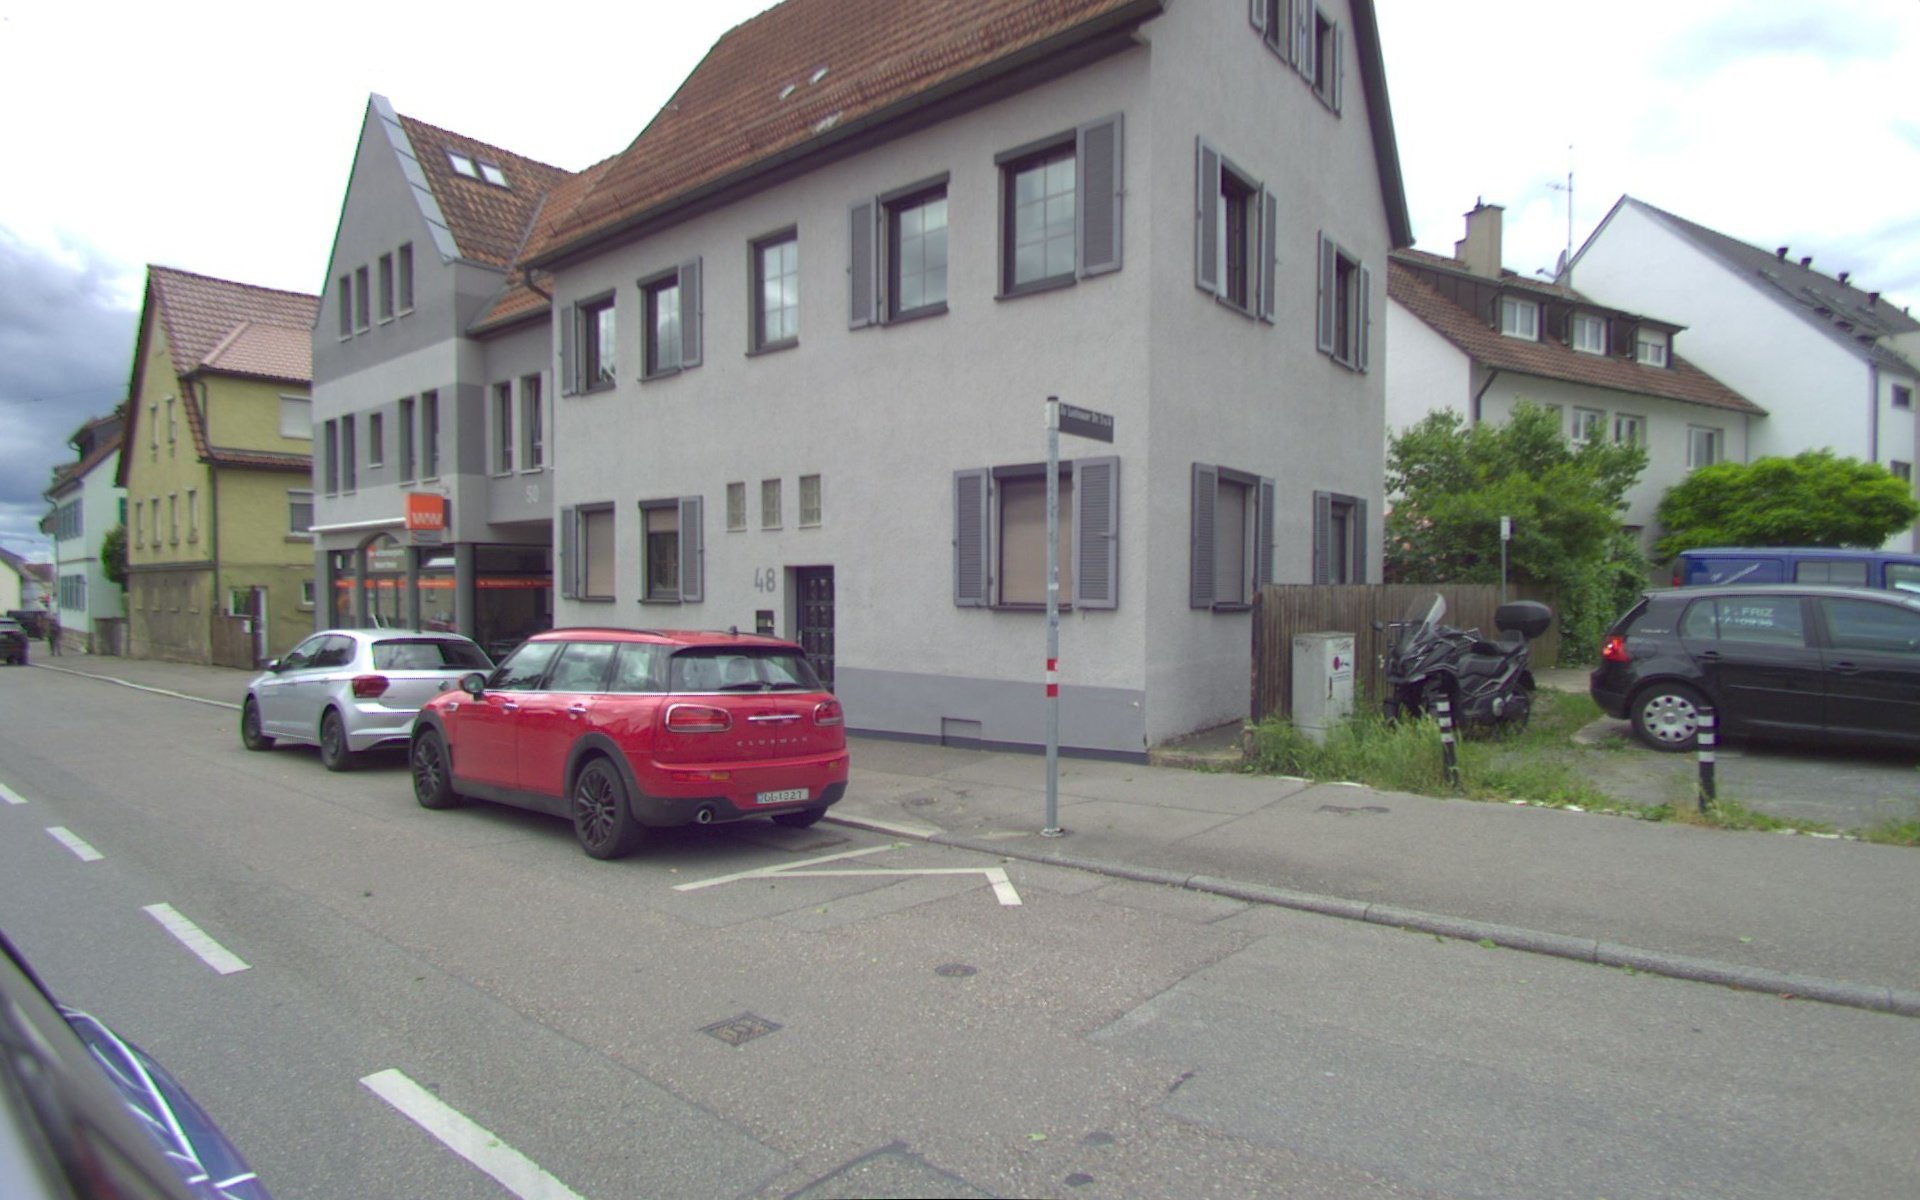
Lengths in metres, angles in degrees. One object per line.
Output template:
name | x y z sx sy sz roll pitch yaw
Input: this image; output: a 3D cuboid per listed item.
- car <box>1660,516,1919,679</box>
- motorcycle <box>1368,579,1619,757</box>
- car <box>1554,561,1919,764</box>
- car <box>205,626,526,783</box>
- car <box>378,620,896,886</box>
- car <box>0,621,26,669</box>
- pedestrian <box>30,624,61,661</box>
car | 11.805 -0.023 12.763 1.813 1.923 4.625 0 -1 -44
motorcycle | 5.089 0.571 9.554 2.786 1.485 0.839 0 -1 -34
car | 7.940 0.472 8.859 4.413 1.563 1.973 -1 1 42
car | -6.960 1.060 11.666 4.347 1.485 1.760 -1 -3 39
car | -2.682 0.935 7.826 4.350 1.485 1.839 -2 -3 42
car | -33.215 1.521 34.355 4.348 1.580 1.696 -1 -1 40
pedestrian | -35.224 1.627 38.970 0.551 1.386 0.821 -1 -1 41
